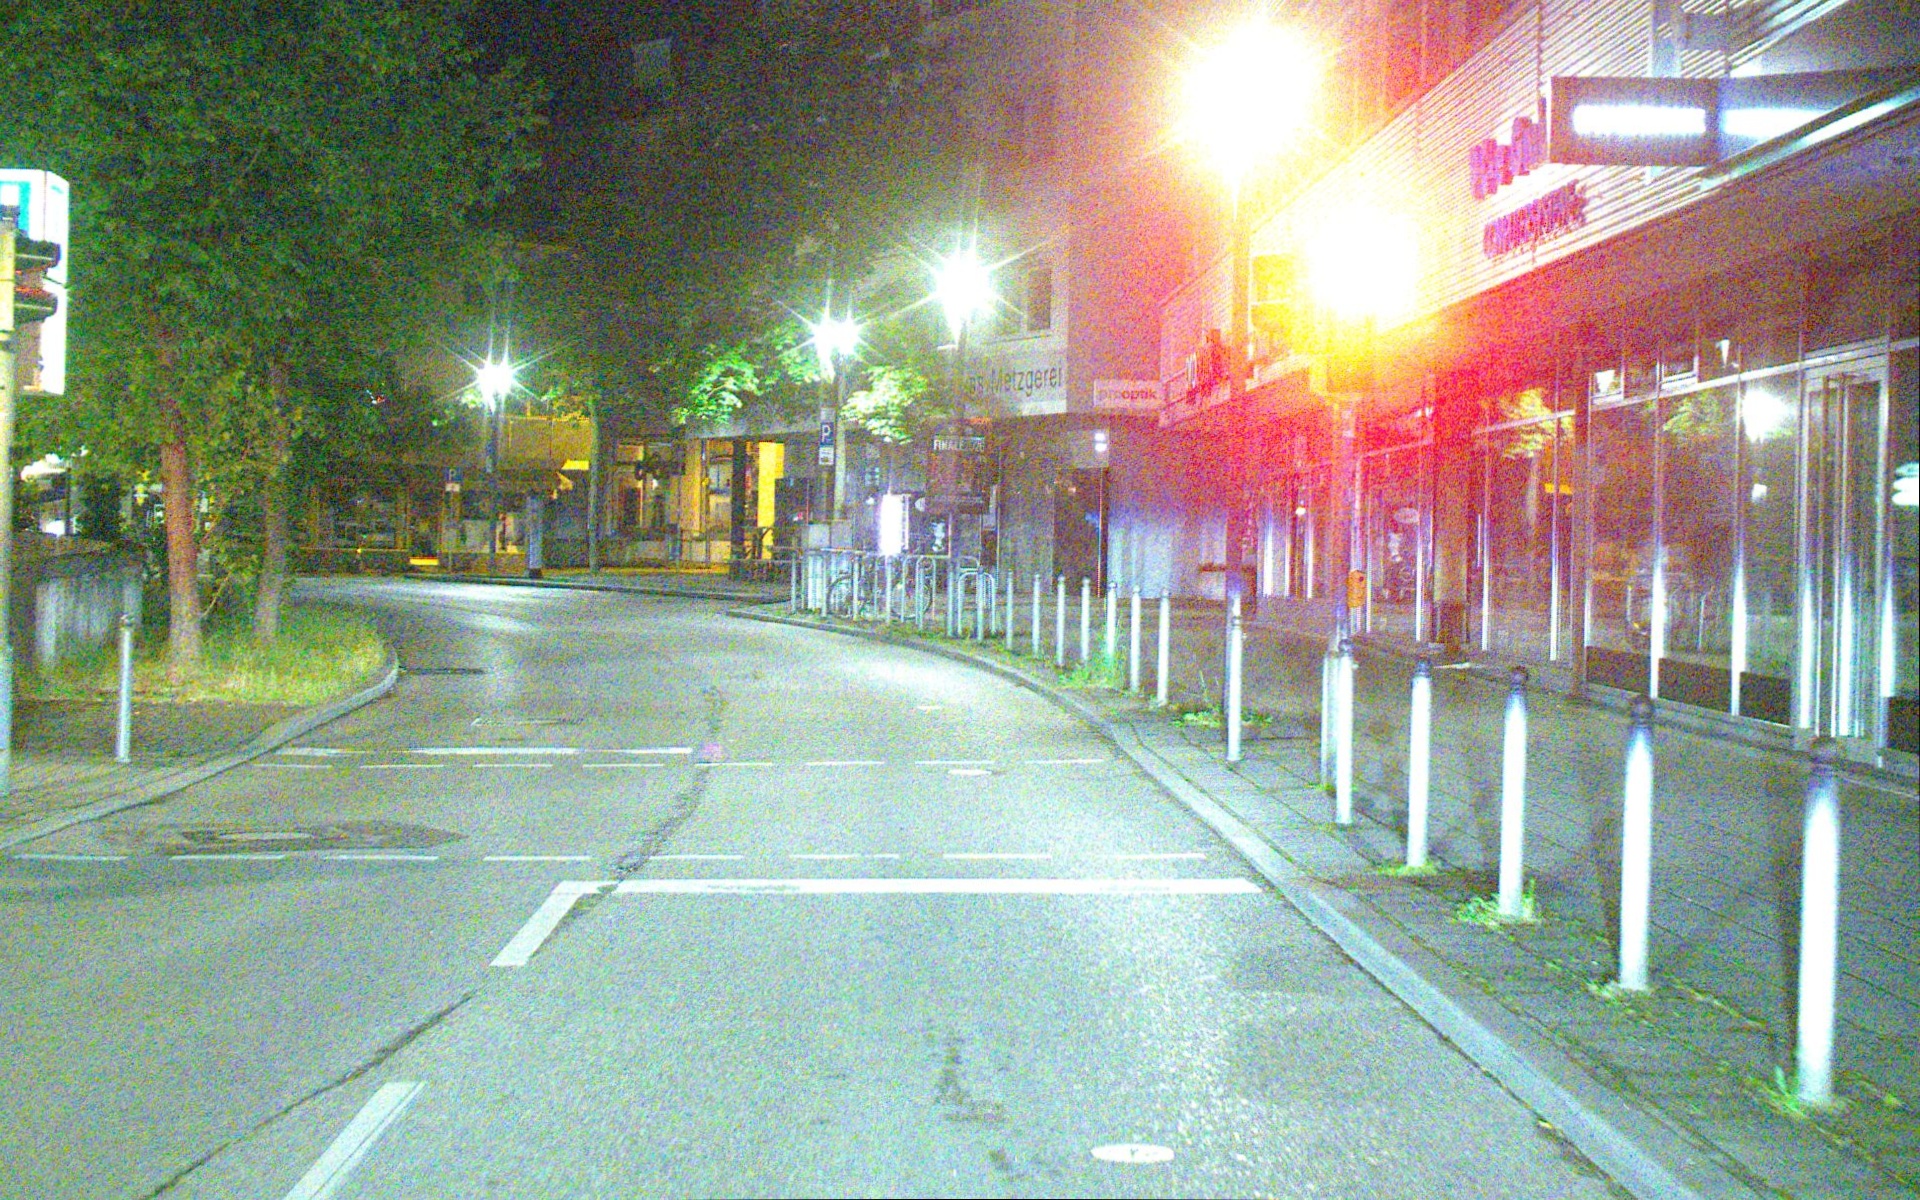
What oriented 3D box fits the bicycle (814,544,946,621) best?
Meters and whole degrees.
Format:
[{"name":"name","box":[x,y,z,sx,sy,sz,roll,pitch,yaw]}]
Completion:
[{"name":"bicycle","box":[-1.134,-0.246,48.796,1.749,1.059,0.656,0,2,-25]}]

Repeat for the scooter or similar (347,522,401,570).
[{"name":"scooter or similar","box":[-15.571,-1.441,91.324,1.246,1.223,0.598,2,2,-28]}]
